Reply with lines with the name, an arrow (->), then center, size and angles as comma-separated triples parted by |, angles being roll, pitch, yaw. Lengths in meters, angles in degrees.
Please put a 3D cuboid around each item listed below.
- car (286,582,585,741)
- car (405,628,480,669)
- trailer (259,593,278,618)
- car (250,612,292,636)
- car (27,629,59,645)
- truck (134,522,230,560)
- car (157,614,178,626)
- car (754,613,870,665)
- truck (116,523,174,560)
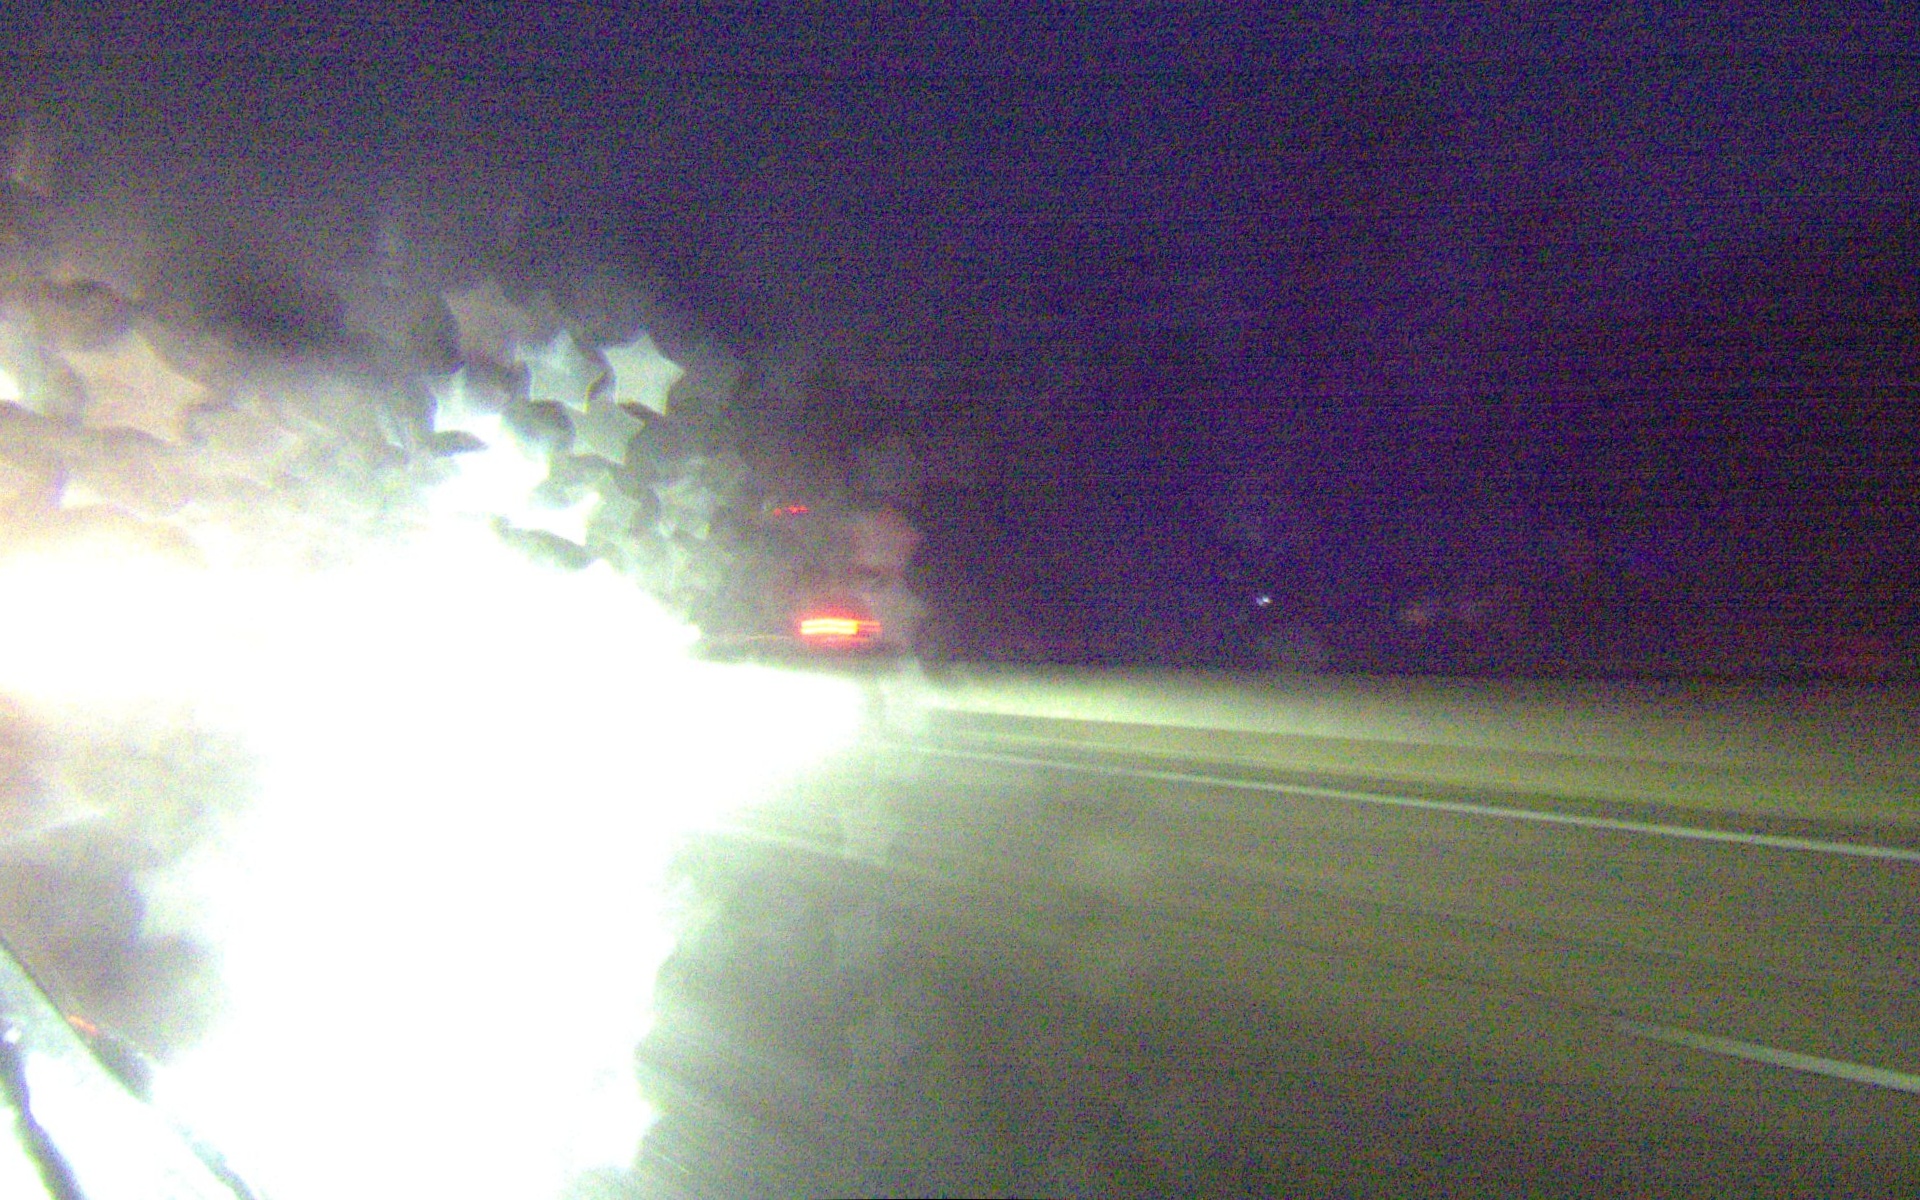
car -> -7.824, 0.806, 14.782 | 5.554, 1.899, 2.114 | -2, -2, 43
car -> -23.580, 2.152, 46.066 | 4.000, 1.644, 1.753 | 1, 0, 43
trailer -> -145.857, 1.156, 213.543 | 2.736, 5.013, 14.148 | 1, 0, -32
car -> -51.772, 1.786, 76.004 | 4.000, 1.644, 1.753 | 1, 0, 43
car -> -79.005, 3.197, 87.171 | 3.990, 1.304, 1.689 | -3, -2, 42
truck -> -81.394, -6.114, 105.803 | 11.148, 3.808, 2.401 | 1, 0, 20
car -> -101.701, 2.529, 129.880 | 1.721, 1.504, 4.004 | 1, -1, -43
car -> -5.017, 1.274, 34.070 | 3.999, 1.644, 1.753 | -1, -1, 42
truck -> -86.861, -6.182, 107.806 | 5.390, 3.808, 2.401 | 1, 0, 21
